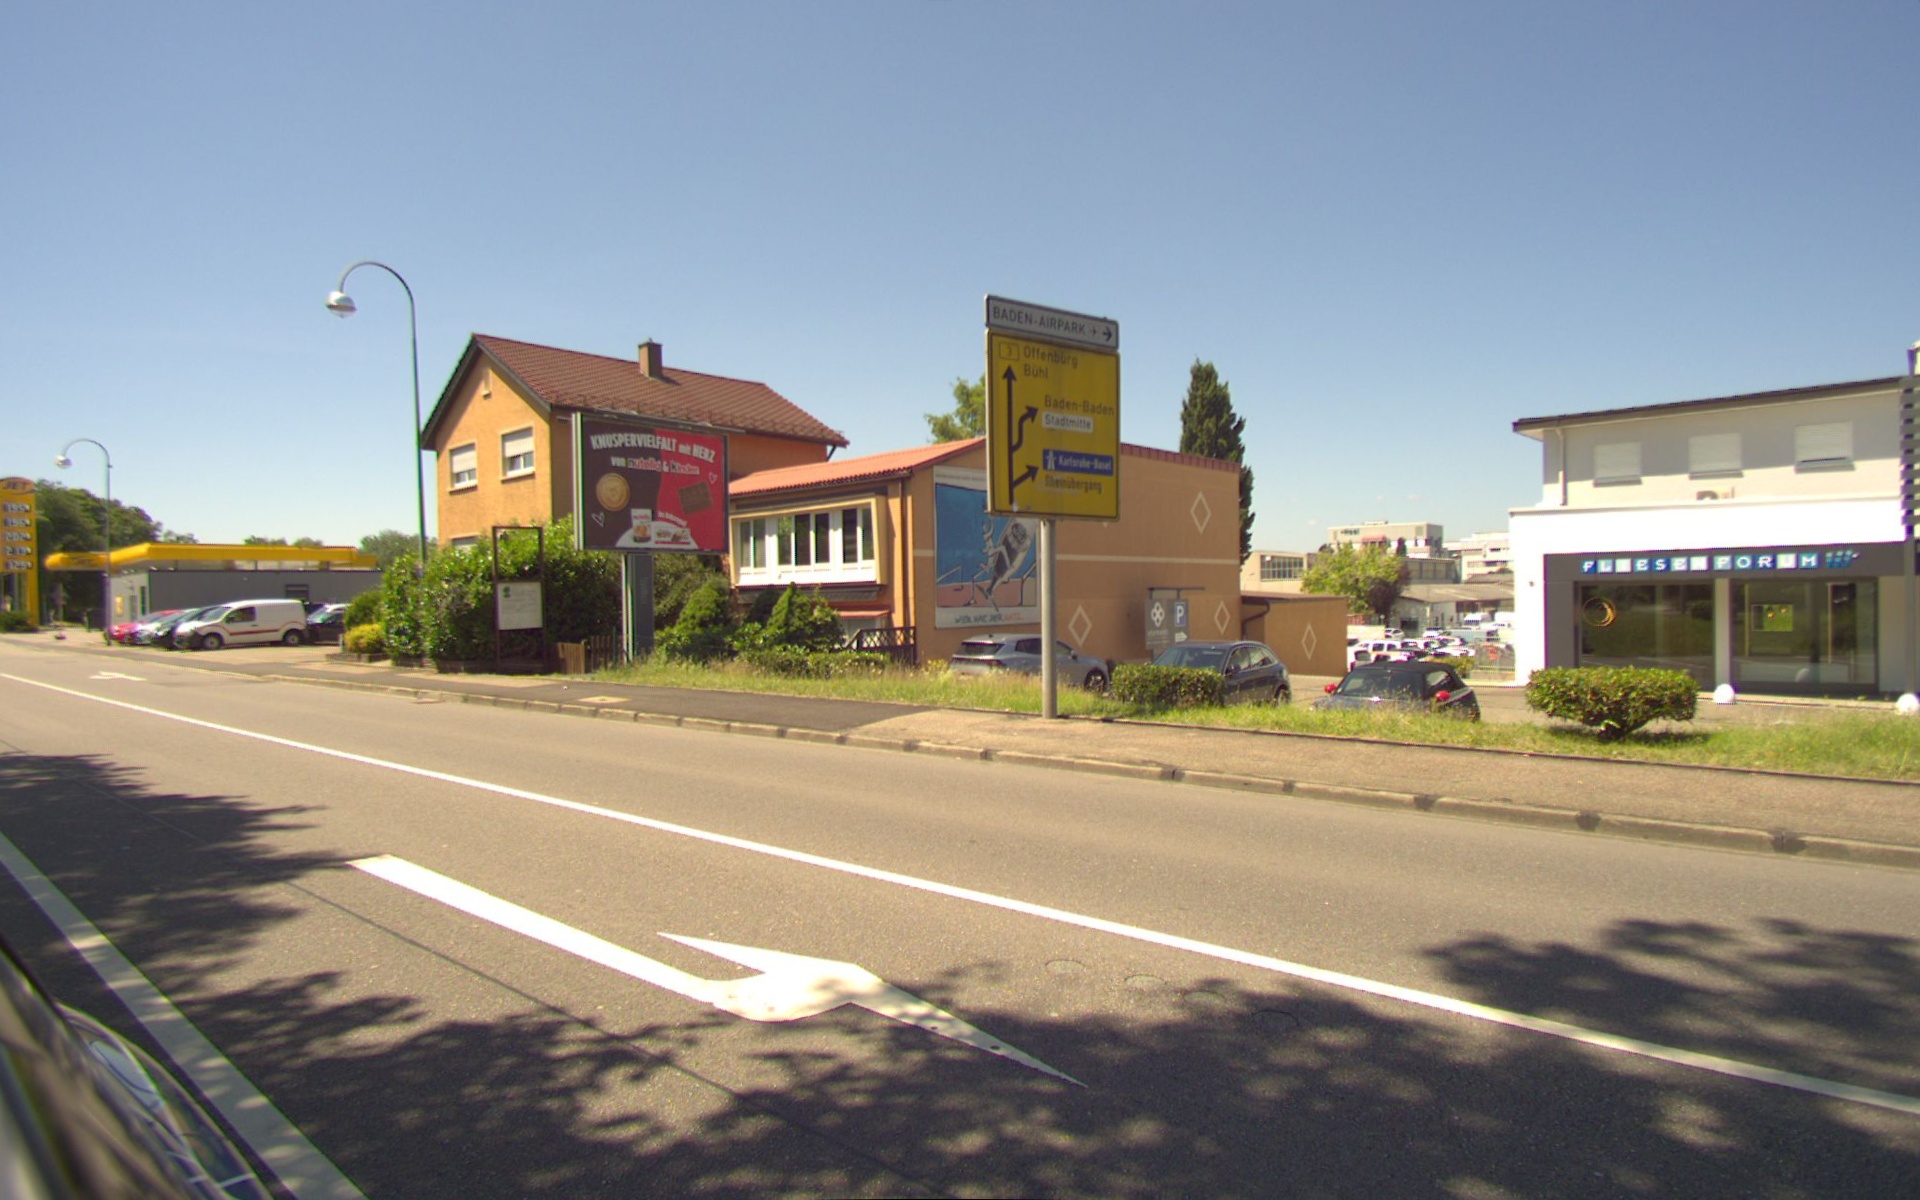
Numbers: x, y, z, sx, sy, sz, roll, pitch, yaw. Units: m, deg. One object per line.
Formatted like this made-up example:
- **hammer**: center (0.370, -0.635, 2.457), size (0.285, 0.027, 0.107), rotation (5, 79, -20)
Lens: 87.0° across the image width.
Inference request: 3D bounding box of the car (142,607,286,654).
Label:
- **car**: center (-29.324, 1.155, 39.892), size (1.871, 1.773, 4.198), rotation (-1, -1, 35)

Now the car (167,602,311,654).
- **car**: center (-27.534, 1.039, 38.759), size (1.871, 1.883, 4.143), rotation (-1, -1, 35)

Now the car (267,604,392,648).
- **car**: center (-27.924, 1.119, 44.913), size (1.871, 1.839, 4.351), rotation (-1, -1, 35)

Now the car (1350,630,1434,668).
- **car**: center (24.648, 2.745, 57.804), size (4.001, 2.029, 1.971), rotation (-1, -1, 44)

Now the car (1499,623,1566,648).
- **car**: center (42.729, 2.634, 75.621), size (4.055, 1.768, 1.707), rotation (-1, -1, 44)

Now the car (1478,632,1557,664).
- **car**: center (32.778, 2.776, 59.576), size (3.774, 1.768, 1.707), rotation (-1, -1, 44)

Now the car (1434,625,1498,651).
- **car**: center (36.472, 2.721, 73.000), size (3.774, 1.768, 1.707), rotation (-1, -1, 44)

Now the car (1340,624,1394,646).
- **car**: center (34.020, 2.935, 84.611), size (3.774, 1.768, 1.707), rotation (-1, -1, 44)

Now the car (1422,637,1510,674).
- **car**: center (26.338, 2.864, 52.711), size (3.774, 1.768, 1.707), rotation (-1, -1, 44)

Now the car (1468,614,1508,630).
- **car**: center (61.529, 2.607, 117.880), size (3.774, 1.768, 1.707), rotation (-1, 1, 44)

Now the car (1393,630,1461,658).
- **car**: center (31.115, 2.881, 67.425), size (3.774, 1.768, 1.707), rotation (-1, -1, 44)

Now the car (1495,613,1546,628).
- **car**: center (71.751, 2.618, 129.596), size (5.303, 1.768, 2.037), rotation (-1, -1, 44)

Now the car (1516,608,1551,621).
- **car**: center (76.899, 1.947, 135.780), size (3.774, 1.768, 1.707), rotation (-1, -1, 44)

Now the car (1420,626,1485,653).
- **car**: center (34.436, 2.746, 70.778), size (3.774, 1.768, 1.707), rotation (-1, -1, 44)

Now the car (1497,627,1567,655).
- **car**: center (38.228, 2.700, 67.641), size (3.774, 1.768, 1.707), rotation (-1, -1, 44)

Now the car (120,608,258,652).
- **car**: center (-32.649, 1.237, 42.966), size (1.871, 1.773, 4.351), rotation (-1, -1, 35)

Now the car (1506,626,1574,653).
- **car**: center (39.867, 2.679, 69.634), size (3.774, 1.768, 1.707), rotation (-1, -1, 44)

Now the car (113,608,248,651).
- **car**: center (-34.189, 1.262, 44.504), size (1.871, 1.773, 4.351), rotation (-1, -1, 35)

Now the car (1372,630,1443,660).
- **car**: center (28.306, 2.836, 64.041), size (3.774, 1.768, 1.707), rotation (-1, -1, 44)

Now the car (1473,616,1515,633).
- **car**: center (58.970, 2.671, 111.790), size (3.774, 1.768, 1.707), rotation (-2, 0, 44)

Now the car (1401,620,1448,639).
- **car**: center (44.709, 2.790, 97.508), size (3.774, 1.768, 1.707), rotation (-1, 0, 44)

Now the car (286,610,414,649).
- **car**: center (-26.167, 1.227, 43.519), size (1.871, 1.575, 4.351), rotation (-1, -1, 35)

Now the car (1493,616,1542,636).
- **car**: center (53.062, 2.474, 96.316), size (3.774, 1.768, 1.707), rotation (-1, 1, 44)

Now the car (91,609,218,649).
- **car**: center (-37.869, 1.324, 47.672), size (1.871, 1.773, 4.351), rotation (-1, -1, 35)

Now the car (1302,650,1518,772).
- **car**: center (7.288, 1.654, 16.210), size (4.039, 1.544, 1.772), rotation (0, -1, -44)

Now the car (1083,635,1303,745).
- **car**: center (4.366, 1.534, 18.528), size (4.462, 1.654, 1.772), rotation (0, -1, -44)

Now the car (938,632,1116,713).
- **car**: center (1.631, 1.610, 23.646), size (4.165, 1.621, 1.773), rotation (0, -1, -42)

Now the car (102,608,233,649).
- **car**: center (-35.972, 1.251, 46.054), size (1.871, 1.773, 4.351), rotation (-1, -1, 35)
